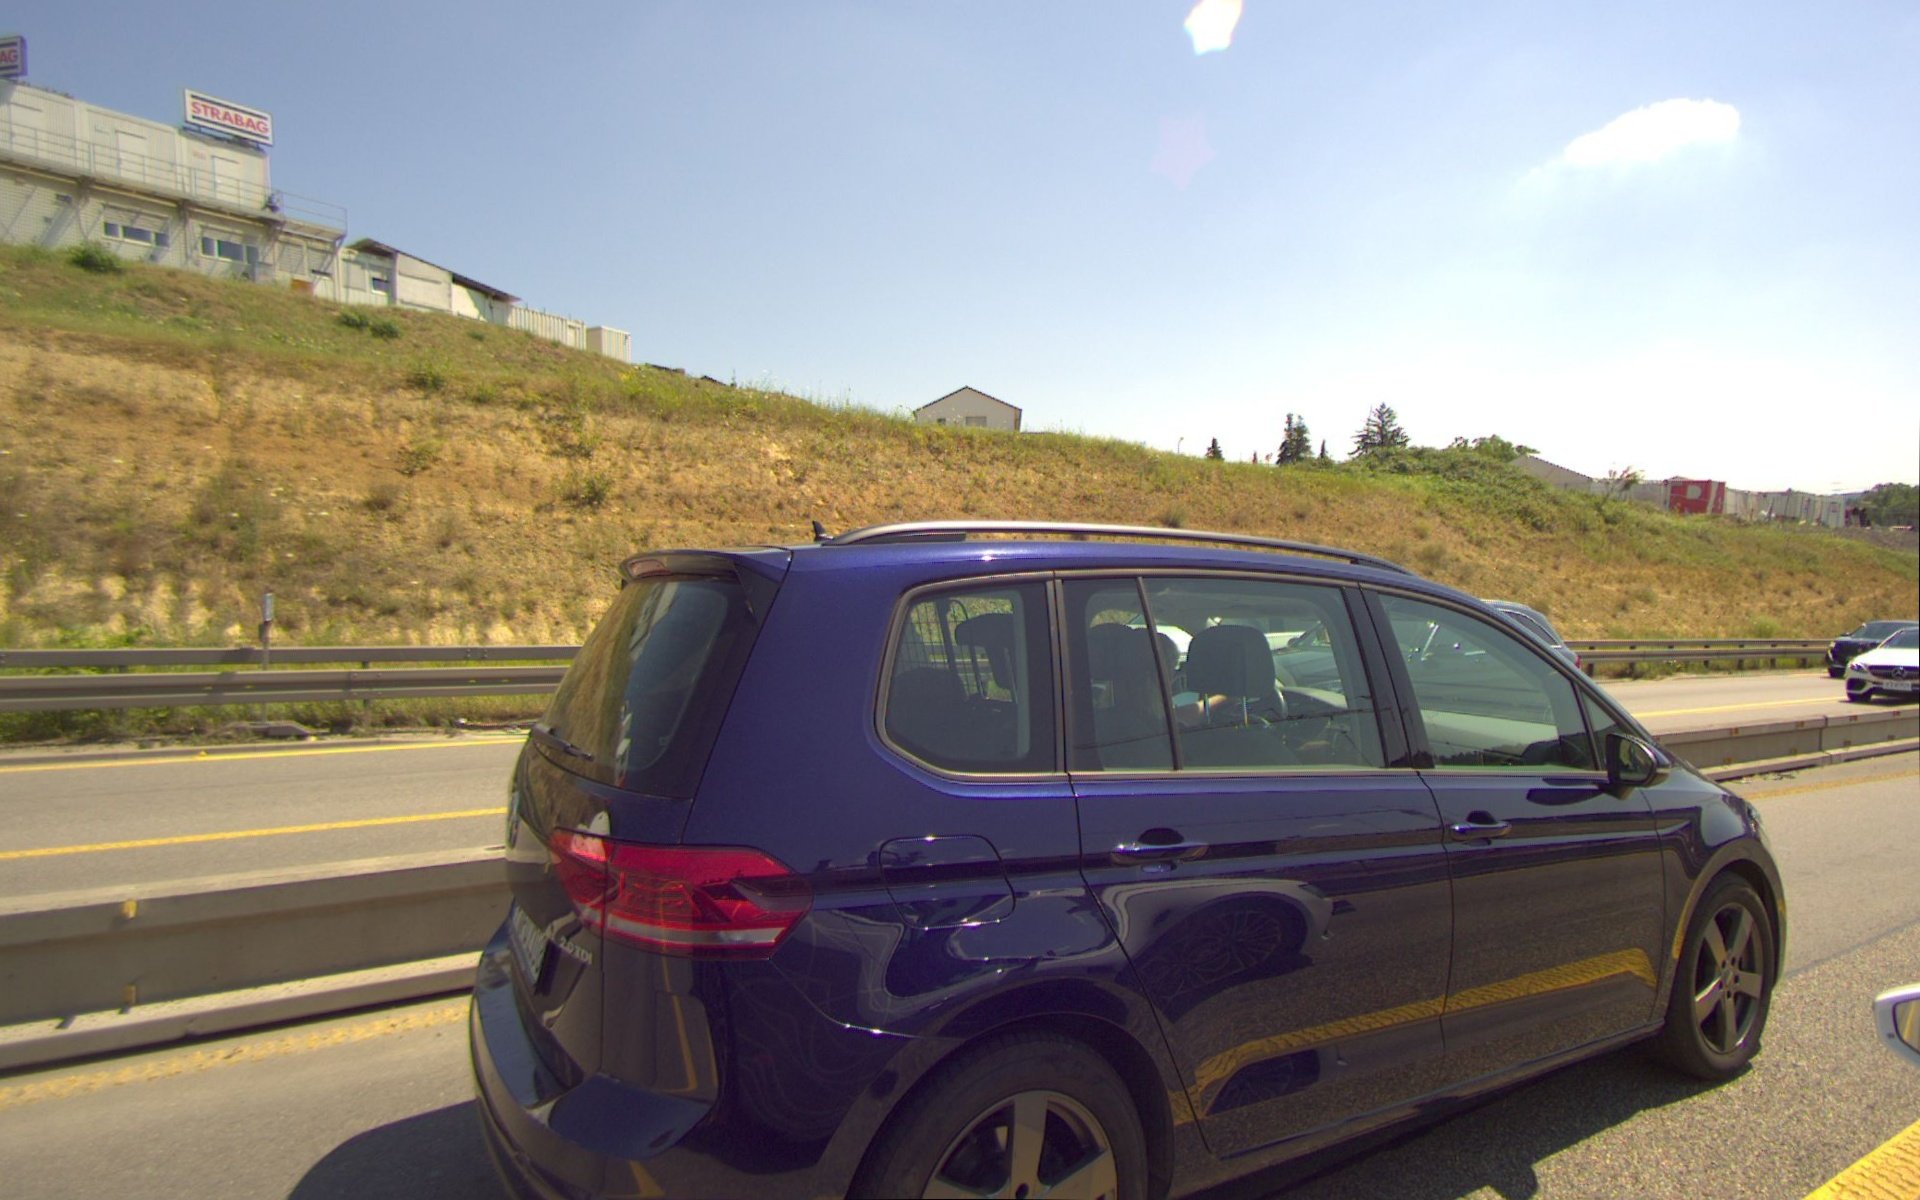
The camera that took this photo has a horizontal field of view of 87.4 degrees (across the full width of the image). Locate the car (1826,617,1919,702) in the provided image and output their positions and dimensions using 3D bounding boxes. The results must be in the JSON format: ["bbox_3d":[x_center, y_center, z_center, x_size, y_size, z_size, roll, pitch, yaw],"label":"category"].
[{"bbox_3d":[19.100,1.113,19.589,4.884,1.483,1.951,1,1,-32],"label":"car"}]

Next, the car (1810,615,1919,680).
[{"bbox_3d":[24.612,1.221,26.826,3.953,1.552,1.685,1,1,-30],"label":"car"}]

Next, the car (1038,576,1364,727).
[{"bbox_3d":[3.402,0.630,13.841,4.488,1.786,1.780,1,0,-33],"label":"car"}]

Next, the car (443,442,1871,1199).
[{"bbox_3d":[0.930,0.633,3.298,4.597,1.741,1.767,0,1,-31],"label":"car"}]

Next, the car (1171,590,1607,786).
[{"bbox_3d":[4.557,0.762,10.434,4.679,1.633,1.781,1,1,-31],"label":"car"}]
